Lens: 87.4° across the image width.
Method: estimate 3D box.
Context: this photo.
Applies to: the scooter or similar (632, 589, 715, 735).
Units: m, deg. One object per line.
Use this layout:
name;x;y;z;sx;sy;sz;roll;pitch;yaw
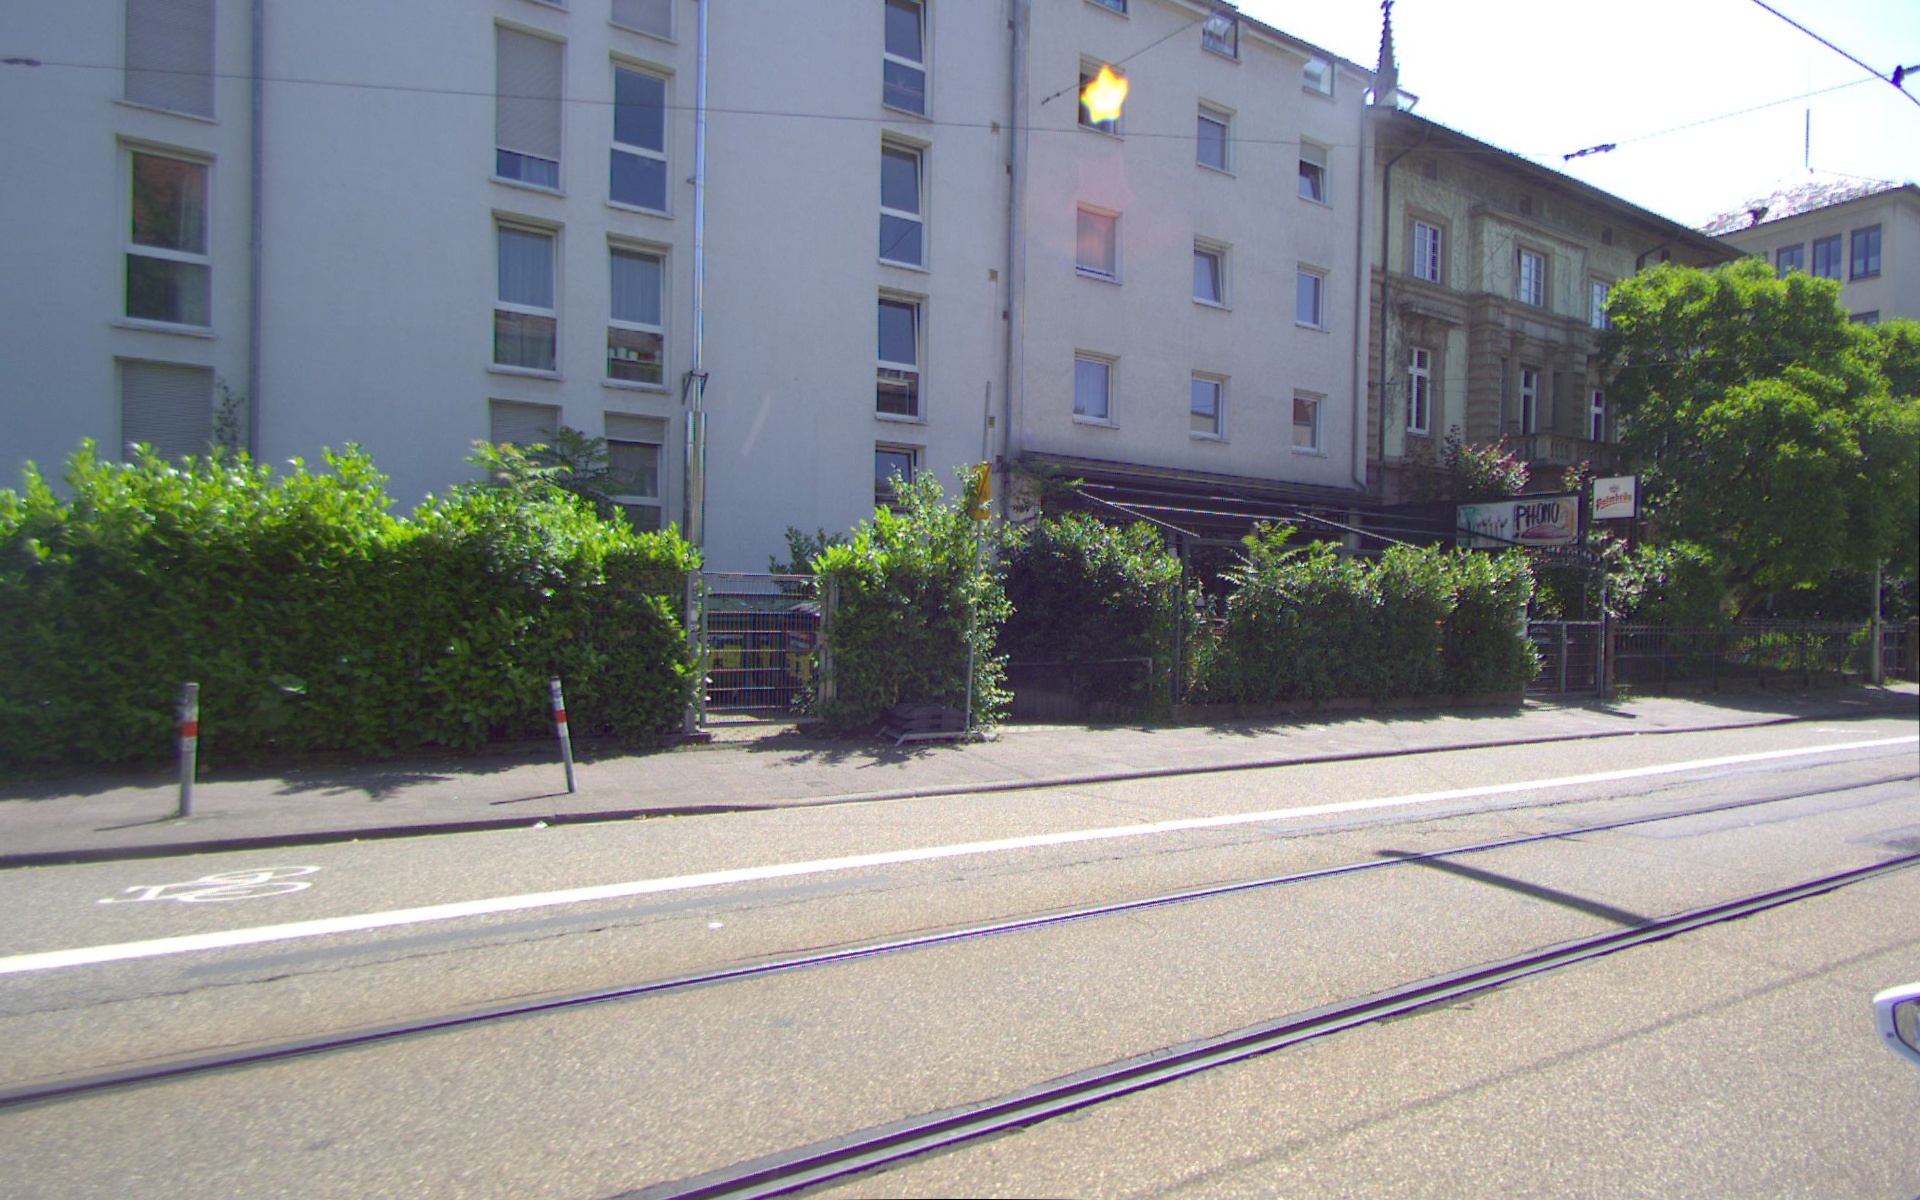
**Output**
scooter or similar;-3.110;0.642;10.863;0.590;1.470;1.004;2;0;-29
